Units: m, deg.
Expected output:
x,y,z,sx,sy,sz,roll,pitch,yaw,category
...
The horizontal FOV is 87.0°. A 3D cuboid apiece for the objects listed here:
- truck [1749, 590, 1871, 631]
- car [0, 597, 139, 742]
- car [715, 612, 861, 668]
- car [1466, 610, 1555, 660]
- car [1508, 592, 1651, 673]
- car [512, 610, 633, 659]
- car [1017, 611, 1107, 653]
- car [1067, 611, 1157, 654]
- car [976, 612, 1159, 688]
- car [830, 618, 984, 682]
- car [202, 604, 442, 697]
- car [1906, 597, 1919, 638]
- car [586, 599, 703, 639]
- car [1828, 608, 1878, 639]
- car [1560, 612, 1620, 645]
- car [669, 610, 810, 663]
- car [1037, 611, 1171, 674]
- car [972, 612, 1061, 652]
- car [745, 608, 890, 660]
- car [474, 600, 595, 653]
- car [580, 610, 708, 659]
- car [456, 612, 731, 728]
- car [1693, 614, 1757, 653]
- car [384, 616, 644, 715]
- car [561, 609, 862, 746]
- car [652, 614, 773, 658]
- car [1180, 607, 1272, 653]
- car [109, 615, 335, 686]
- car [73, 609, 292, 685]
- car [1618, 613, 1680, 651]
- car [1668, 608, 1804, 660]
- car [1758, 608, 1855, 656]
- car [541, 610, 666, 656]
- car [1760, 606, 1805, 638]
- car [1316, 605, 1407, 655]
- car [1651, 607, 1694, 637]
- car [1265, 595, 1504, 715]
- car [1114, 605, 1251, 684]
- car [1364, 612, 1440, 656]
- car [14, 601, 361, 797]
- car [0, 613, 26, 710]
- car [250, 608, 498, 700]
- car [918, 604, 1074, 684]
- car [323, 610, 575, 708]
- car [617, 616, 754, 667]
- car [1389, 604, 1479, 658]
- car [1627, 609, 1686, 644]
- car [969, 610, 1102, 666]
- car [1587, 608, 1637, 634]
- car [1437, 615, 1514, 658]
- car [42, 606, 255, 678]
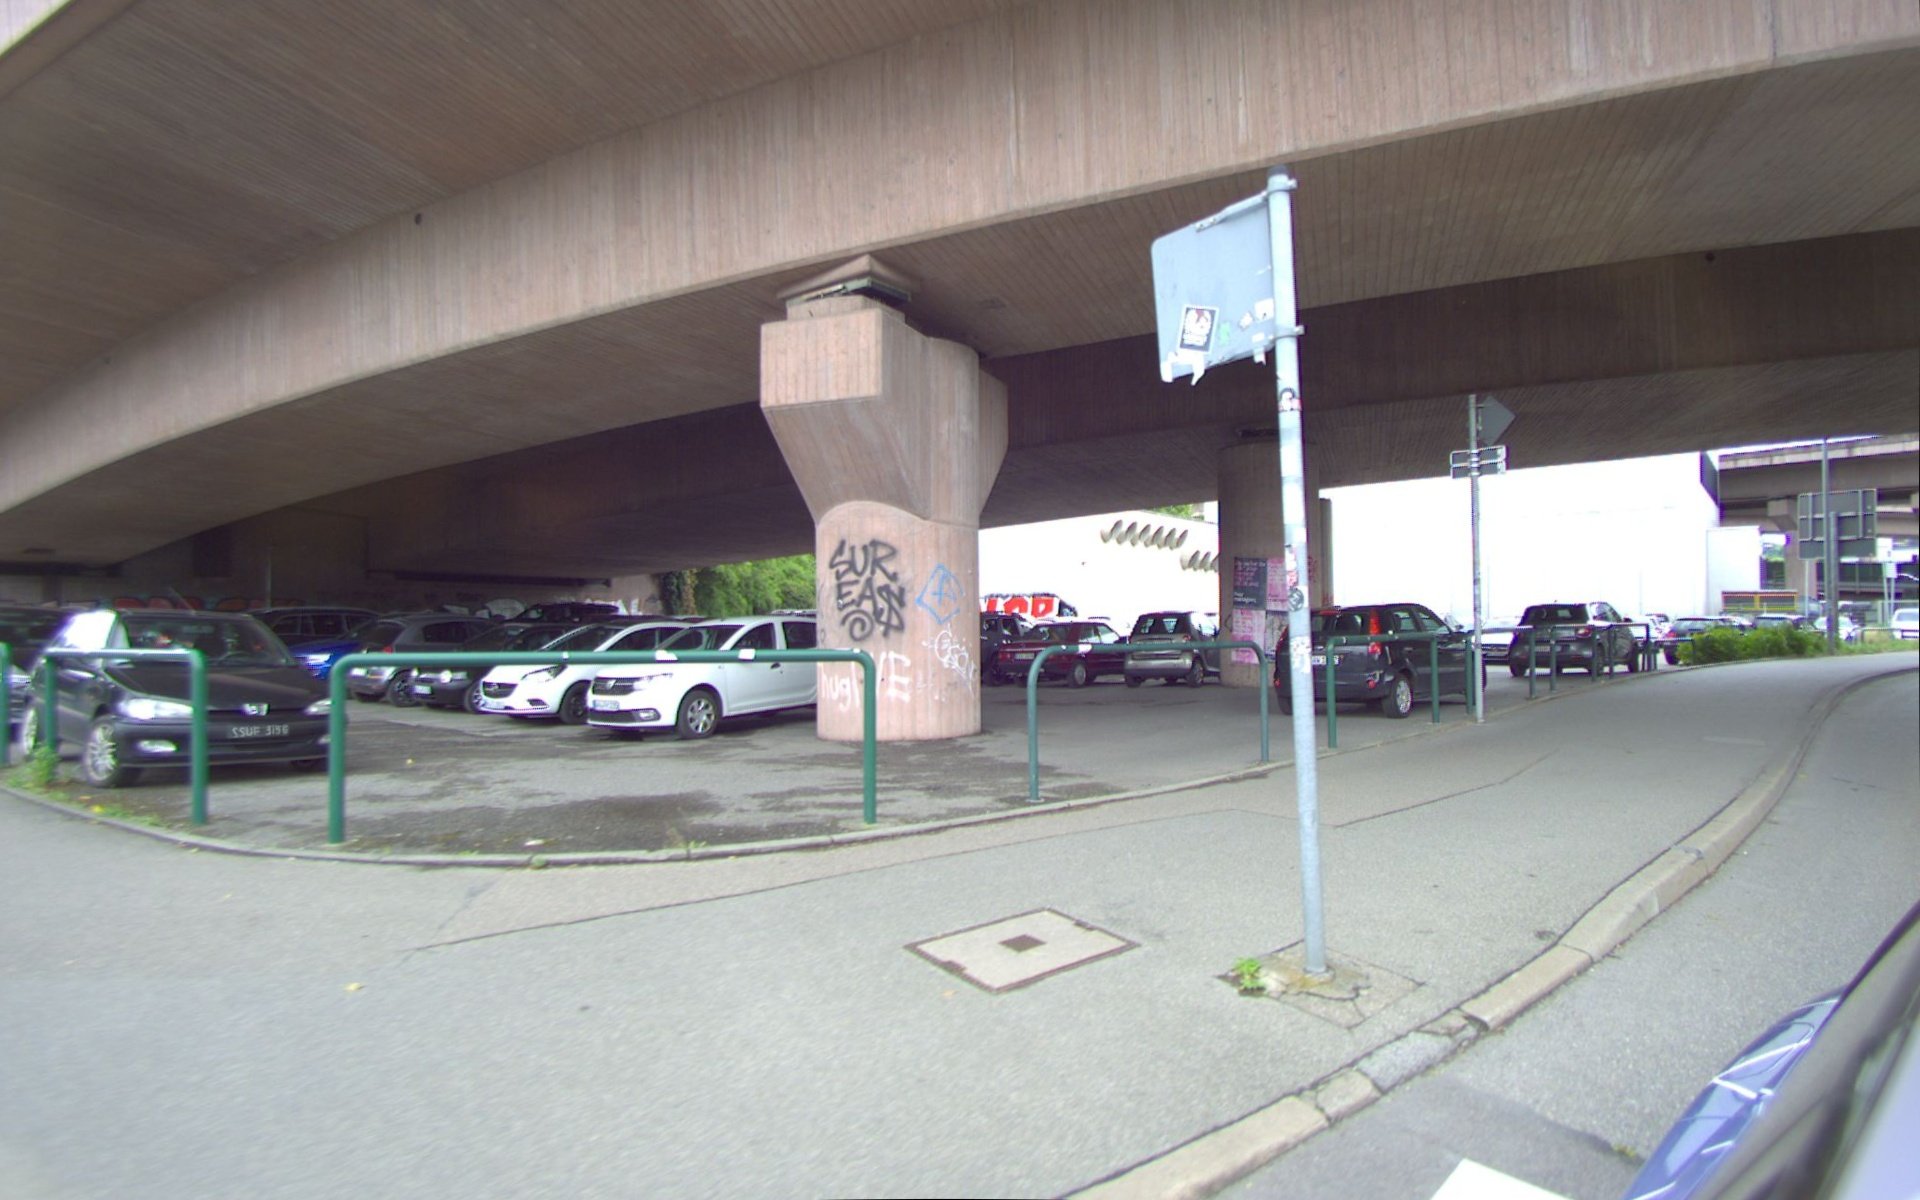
x,y,z,sx,sy,sz,roll,pitch,yaw,category
64.276,0.827,76.621,6.907,2.970,3.002,-1,-2,44,truck
-11.010,0.744,11.576,4.222,1.439,1.490,-2,-3,37,car
-4.711,1.061,28.138,1.828,1.445,3.809,-1,-1,37,car
17.400,1.055,31.897,1.828,1.439,4.135,-1,-1,37,car
12.920,0.661,21.055,3.351,1.553,1.607,0,-3,-42,car
-13.446,1.157,35.265,1.670,1.619,3.613,-1,-1,37,car
4.291,1.292,42.146,1.828,1.613,4.135,-1,-1,37,car
6.139,1.271,40.594,1.828,1.613,4.135,-1,-1,37,car
2.452,1.042,22.304,1.830,1.489,4.313,-3,-2,42,car
-1.240,1.172,25.129,1.828,1.445,3.809,-1,-1,37,car
-12.948,0.959,20.759,1.744,1.716,3.819,-1,-1,31,car
48.142,0.849,49.909,4.601,1.982,1.889,0,-1,-43,car
-12.297,0.715,39.652,1.828,1.484,4.135,-1,-1,37,car
44.859,1.137,50.824,1.769,1.475,4.483,0,-1,43,car
30.384,1.345,48.763,1.831,1.533,4.435,-1,-1,40,car
-6.414,1.012,29.746,1.828,1.445,3.809,-1,-1,37,car
3.964,1.082,27.422,1.828,1.570,4.135,-1,-1,37,car
2.489,1.339,43.749,1.828,1.613,4.135,-1,-1,37,car
-4.904,1.123,35.488,2.079,1.699,5.037,-1,-1,37,car
-15.399,0.917,36.717,1.873,1.811,3.613,-1,-1,37,car
-9.994,1.060,32.202,1.670,1.445,3.613,-1,-1,37,car
-5.484,0.961,15.595,1.684,1.529,3.819,-1,-1,31,car
31.197,1.314,41.220,1.850,1.494,4.618,-1,-1,40,car
-7.467,1.017,17.295,1.684,1.462,3.819,-1,-1,31,car
-3.237,0.921,13.886,1.628,1.572,3.962,-1,-1,34,car
-9.068,1.277,37.312,1.828,1.484,4.135,-1,-1,37,car
9.869,1.068,37.388,1.828,1.613,4.135,-1,-1,37,car
-16.711,1.082,23.098,1.744,1.457,3.819,-1,-1,31,car
-18.527,1.046,24.286,1.744,1.659,3.819,-1,-1,31,car
29.031,1.288,42.566,1.848,1.494,4.622,-1,-1,38,car
23.647,0.996,30.810,4.163,1.498,1.737,0,-1,-29,car
27.638,1.006,33.043,2.705,1.498,1.546,0,-1,-29,car
-11.830,1.051,33.756,1.670,1.445,3.613,-1,-1,37,car
43.127,1.129,53.070,1.767,1.608,4.298,0,-1,40,car
13.741,0.983,34.494,1.828,1.613,4.135,-1,-1,37,car
38.988,1.164,55.356,1.616,1.564,3.052,0,-1,41,car
5.823,0.694,13.728,3.518,1.415,1.607,0,-3,-42,car
4.753,0.909,21.397,1.521,1.519,3.329,-4,-3,37,car
16.968,1.269,38.728,1.747,1.577,4.032,-1,-1,37,car
-6.744,0.740,8.718,3.679,1.347,1.489,-1,-3,38,car
-15.224,0.872,14.648,4.347,1.338,1.748,-1,-2,37,car
-11.193,0.954,19.580,1.744,1.575,3.819,-1,-1,31,car
0.910,0.965,23.820,1.828,1.720,3.809,-1,-1,37,car
-9.153,0.972,18.422,1.684,1.575,3.819,-1,-1,31,car
-8.307,1.207,30.872,1.670,1.445,3.809,-1,-1,37,car
15.458,0.965,32.891,1.828,1.613,4.135,-1,-1,37,car
32.250,1.200,46.824,1.831,1.533,4.435,-1,-1,40,car
2.222,1.027,28.830,1.828,1.484,4.135,-1,-1,37,car
36.439,1.153,56.537,1.768,1.401,4.296,0,-1,41,car
19.108,1.288,37.424,1.747,1.467,4.398,-1,-1,37,car
-20.304,0.988,25.480,1.744,1.659,3.819,-1,-1,31,car
